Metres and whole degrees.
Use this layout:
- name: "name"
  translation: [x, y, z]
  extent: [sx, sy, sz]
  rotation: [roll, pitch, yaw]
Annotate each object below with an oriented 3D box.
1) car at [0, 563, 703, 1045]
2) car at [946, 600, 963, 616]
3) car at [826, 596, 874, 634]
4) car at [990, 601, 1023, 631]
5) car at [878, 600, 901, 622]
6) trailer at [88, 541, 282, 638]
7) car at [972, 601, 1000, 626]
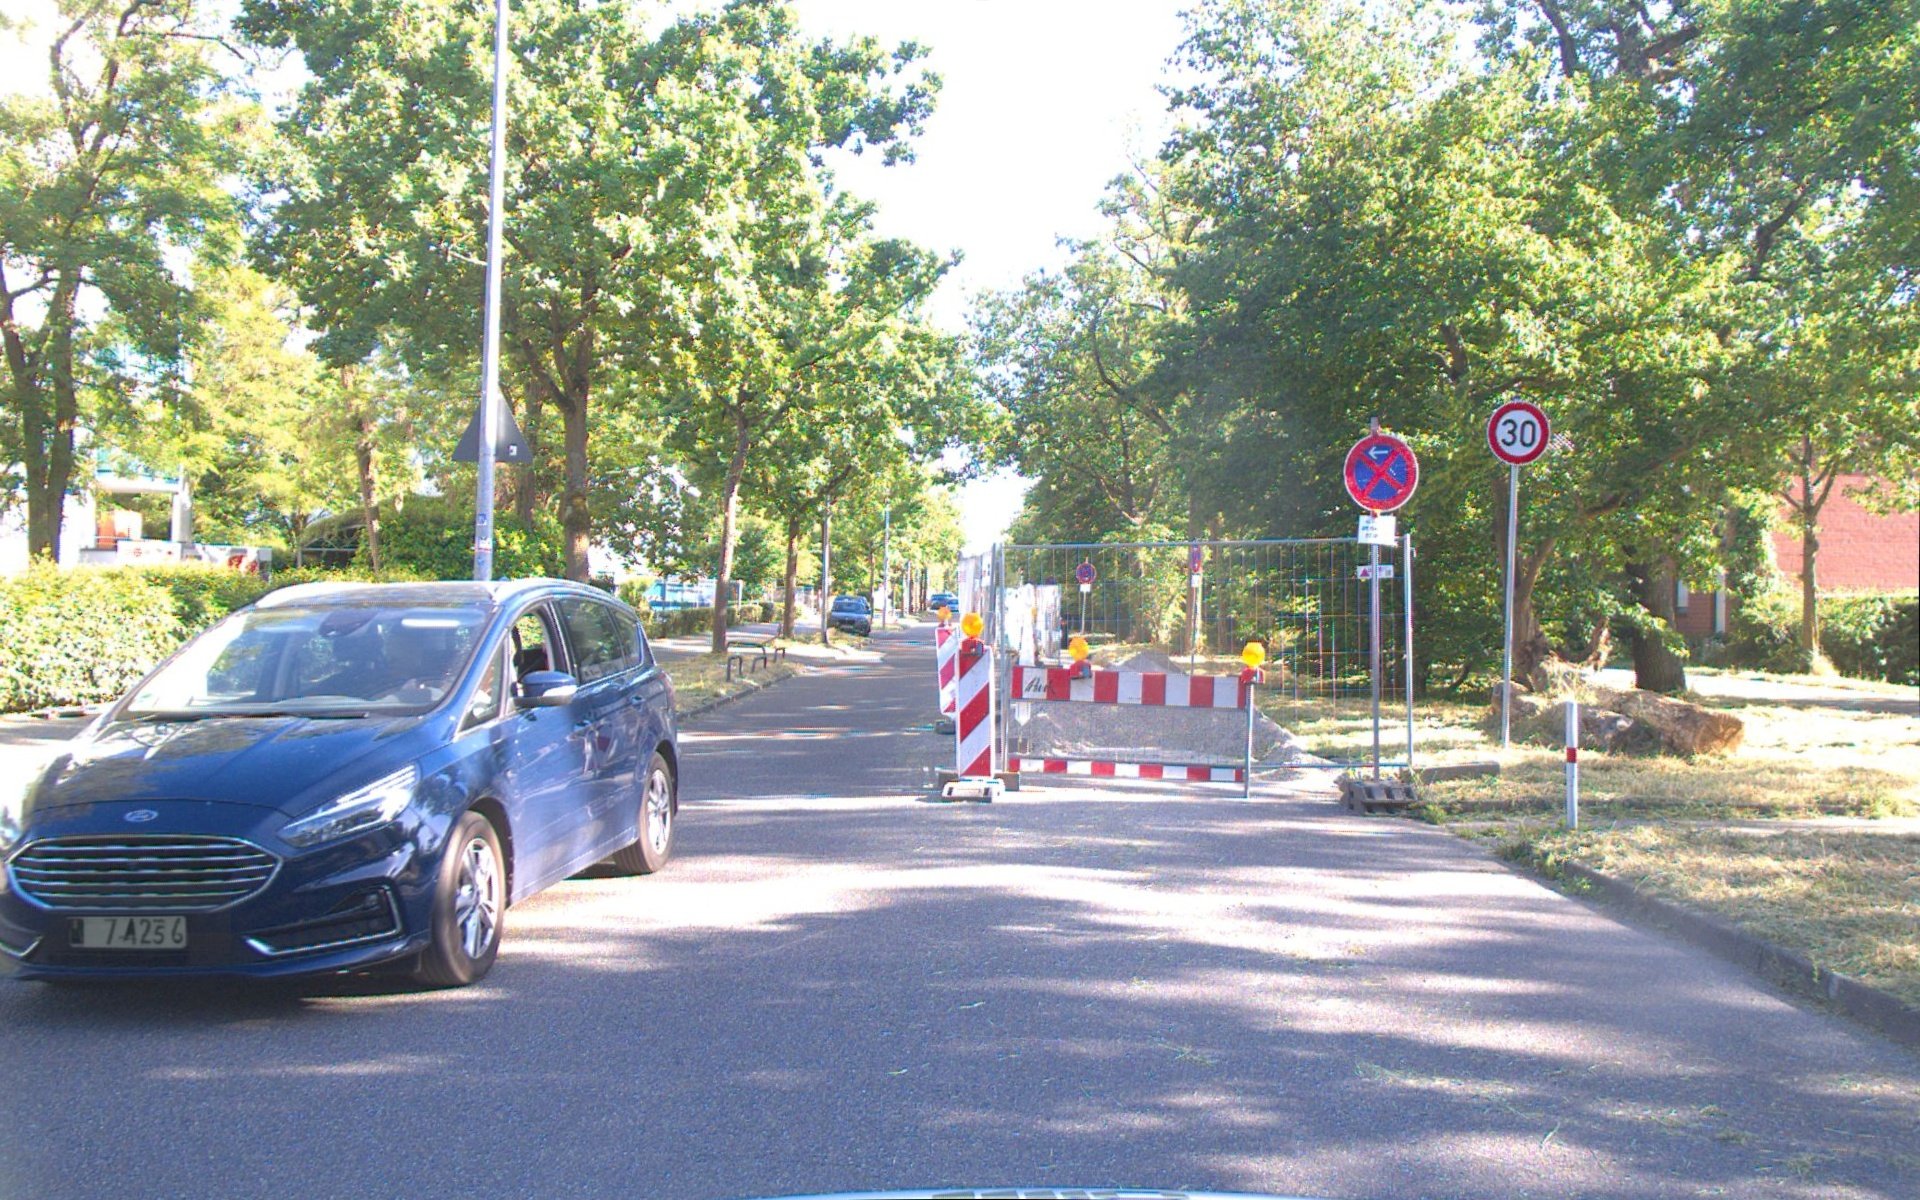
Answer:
- name: "car"
  translation: [-2.646, 0.710, 7.977]
  extent: [1.783, 1.653, 4.495]
  rotation: [-1, 0, 4]
- name: "car"
  translation: [-0.610, 0.839, 178.669]
  extent: [1.676, 1.613, 3.997]
  rotation: [2, -1, -3]
- name: "car"
  translation: [-4.495, 0.605, 68.048]
  extent: [1.715, 1.504, 3.835]
  rotation: [1, 0, -1]
- name: "car"
  translation: [2.169, 0.748, 77.600]
  extent: [1.334, 1.325, 3.480]
  rotation: [2, -1, -2]
- name: "car"
  translation: [-4.391, 0.700, 103.129]
  extent: [1.334, 1.325, 3.480]
  rotation: [2, -1, -2]
- name: "trailer"
  translation: [-17.770, -0.229, 38.188]
  extent: [1.934, 2.078, 4.433]
  rotation: [1, 0, 7]
- name: "car"
  translation: [1.396, 0.754, 90.569]
  extent: [1.334, 1.325, 3.480]
  rotation: [2, -1, -2]
